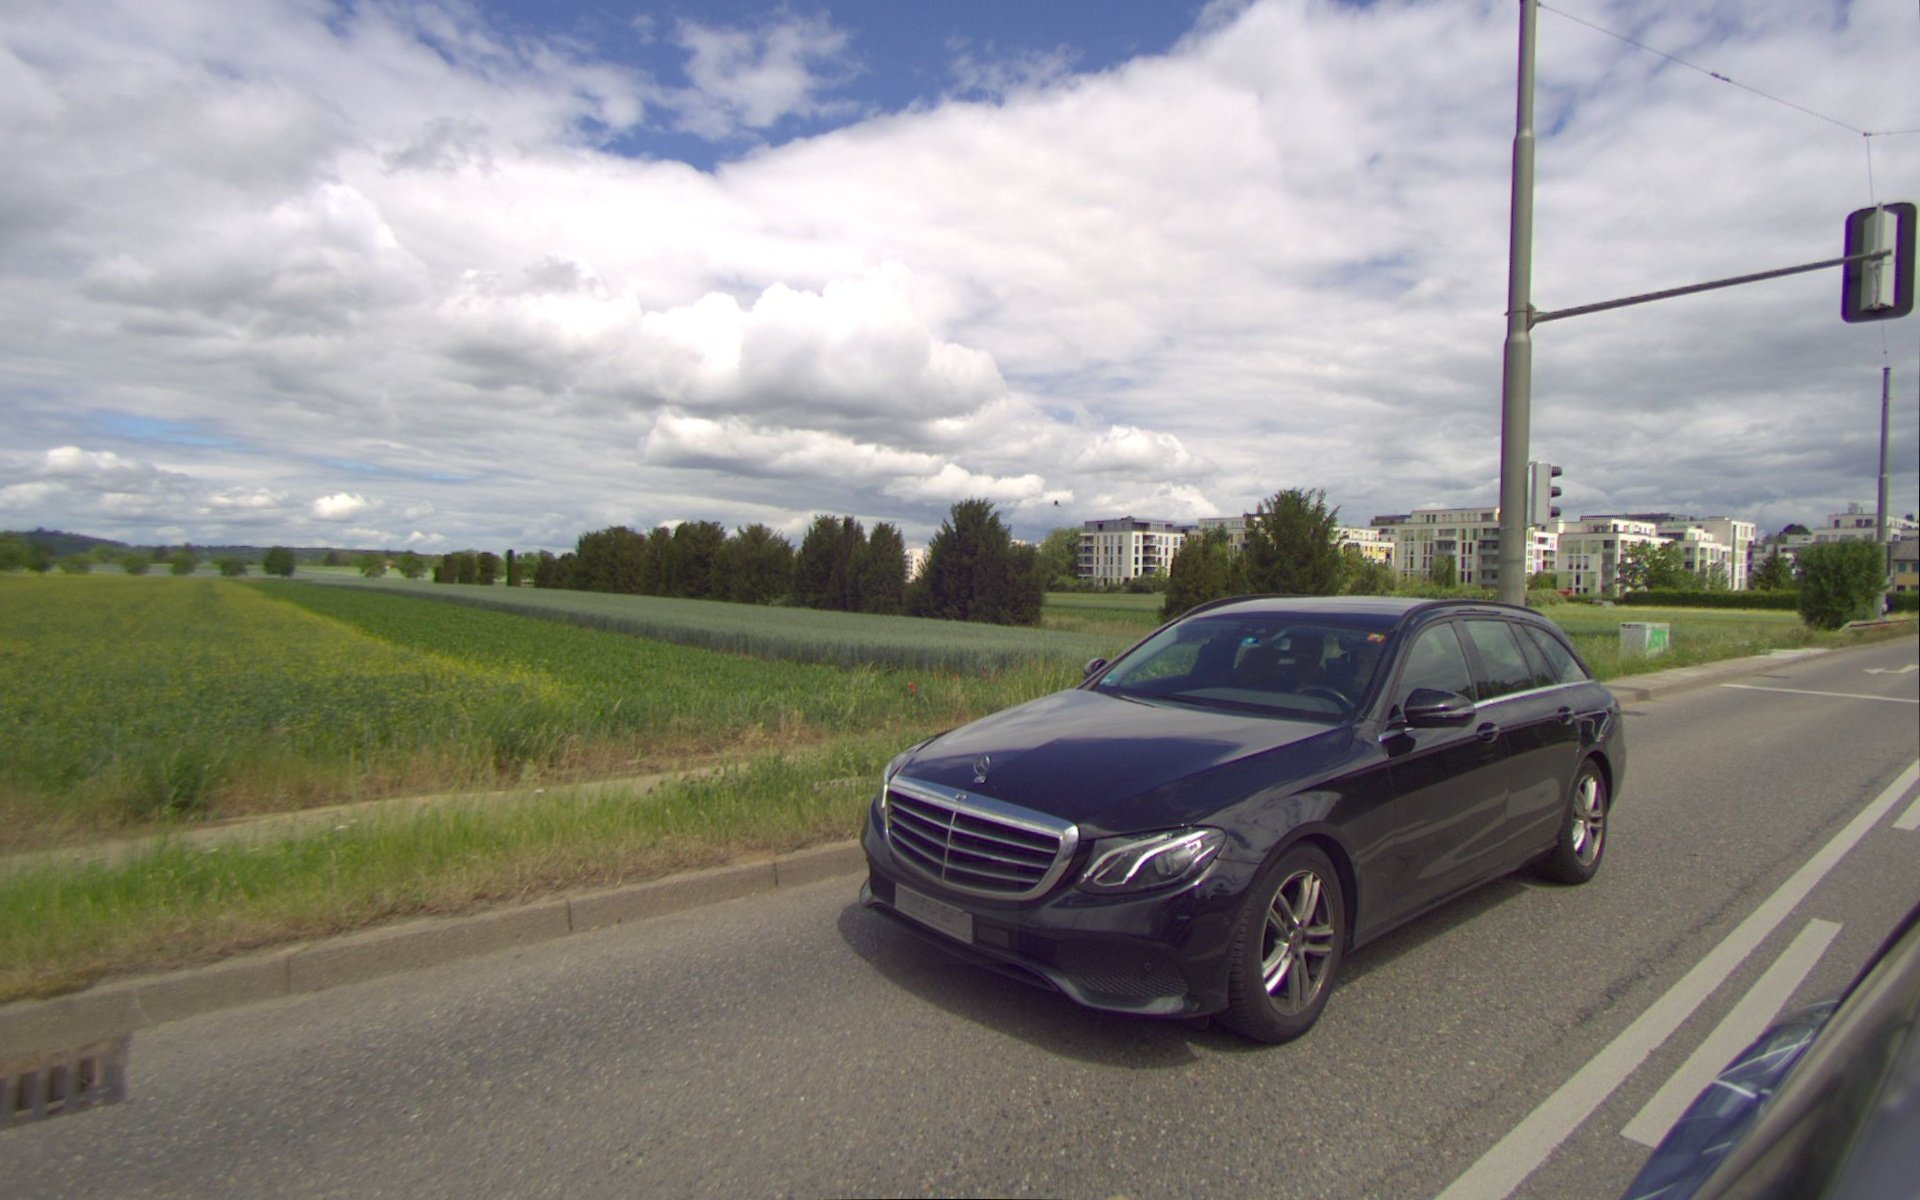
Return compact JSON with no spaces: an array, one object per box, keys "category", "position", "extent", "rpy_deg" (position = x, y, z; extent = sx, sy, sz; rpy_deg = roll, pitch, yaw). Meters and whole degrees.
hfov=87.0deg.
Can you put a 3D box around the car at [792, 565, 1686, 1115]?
[{"category":"car","position":[1.847,0.614,5.110],"extent":[5.110,1.458,1.876],"rpy_deg":[0,2,-42]}]
